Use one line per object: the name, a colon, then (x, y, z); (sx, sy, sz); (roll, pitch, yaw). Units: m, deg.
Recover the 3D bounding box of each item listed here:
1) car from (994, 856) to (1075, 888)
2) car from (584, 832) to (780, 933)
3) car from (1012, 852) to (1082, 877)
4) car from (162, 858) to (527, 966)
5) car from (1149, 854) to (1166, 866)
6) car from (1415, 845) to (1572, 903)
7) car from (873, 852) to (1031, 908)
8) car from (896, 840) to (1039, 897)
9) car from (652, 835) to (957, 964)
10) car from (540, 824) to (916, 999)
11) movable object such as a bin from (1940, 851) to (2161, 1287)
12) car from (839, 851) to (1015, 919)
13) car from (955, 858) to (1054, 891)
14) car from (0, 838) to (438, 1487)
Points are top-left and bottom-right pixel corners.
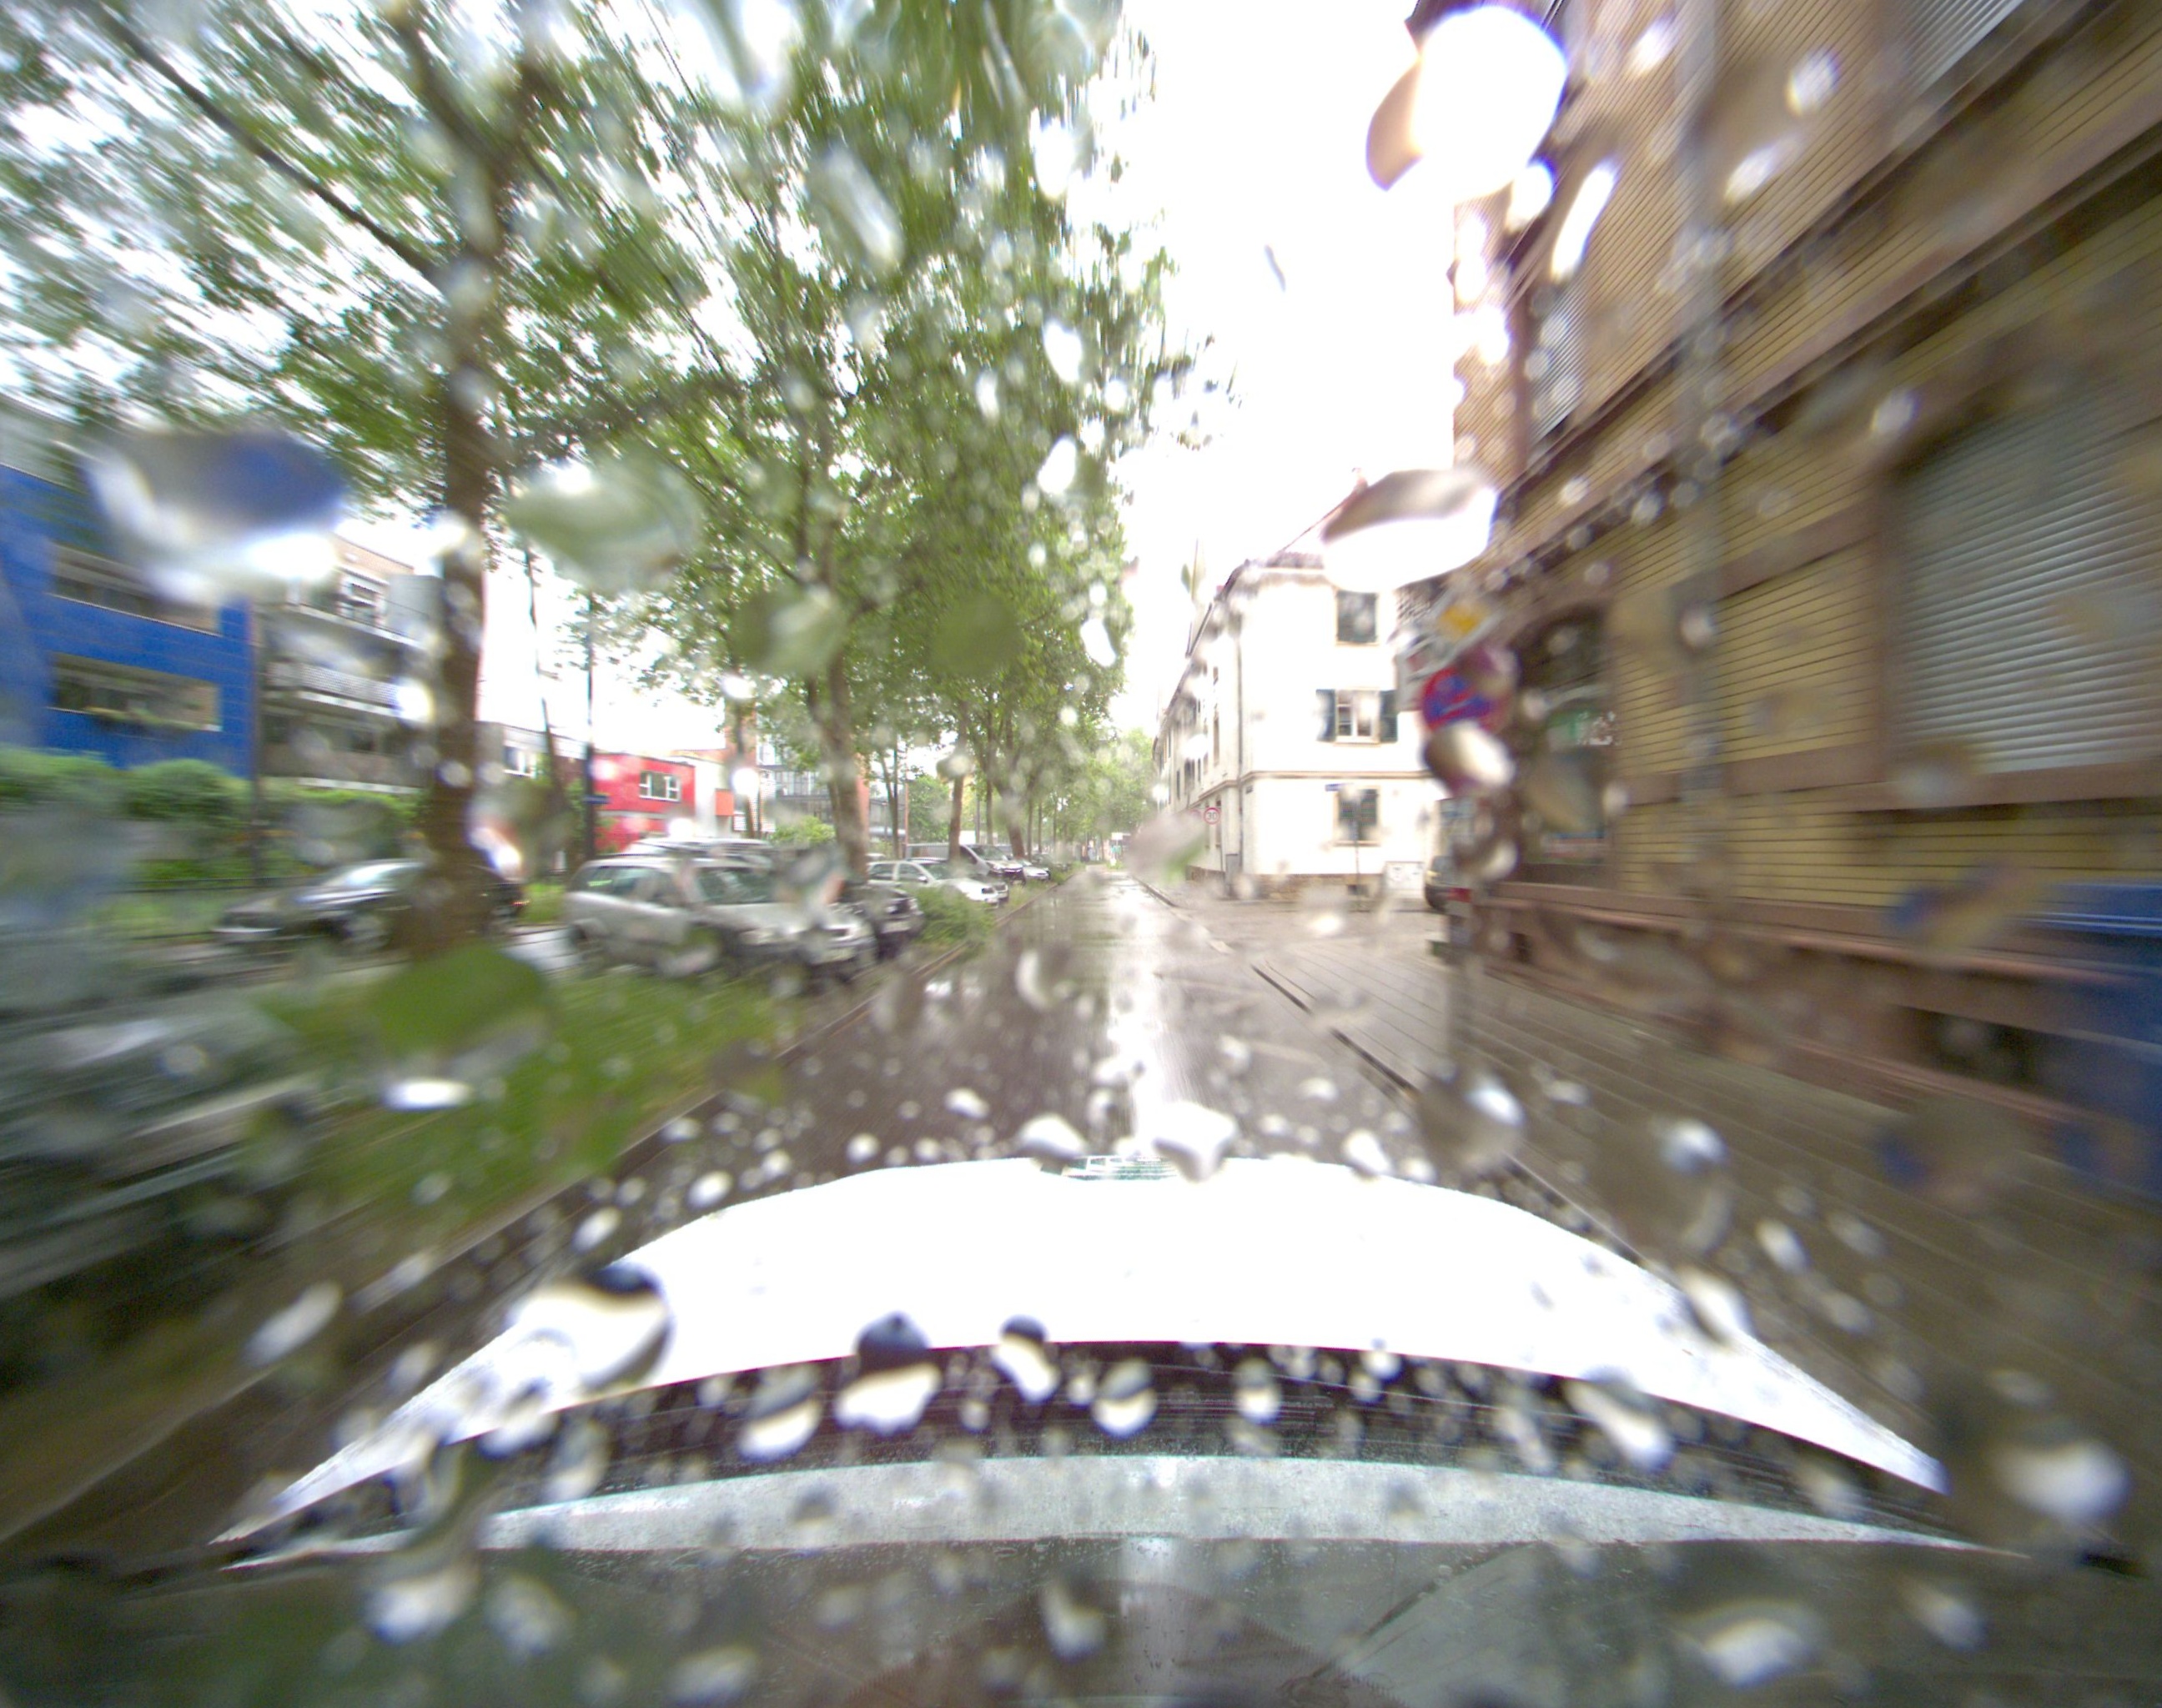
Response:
car: (-2.359, 0.914, 41.106); (3.768, 1.521, 1.733); (-2, 0, 32)
car: (-8.847, 0.546, 18.679); (2.032, 2.000, 5.156); (0, 0, -1)
car: (-2.323, 0.691, 56.006); (4.416, 1.597, 1.935); (0, 0, 28)
car: (-11.671, 0.820, 13.430); (1.985, 1.389, 4.262); (-1, 1, 3)
car: (10.790, 0.870, 115.159); (1.986, 1.640, 4.001); (1, 0, 1)
car: (10.900, 0.525, 21.653); (3.351, 1.487, 1.713); (0, -1, -6)
car: (-3.718, 0.676, 23.378); (4.262, 1.437, 1.758); (1, 1, 28)
car: (-4.294, 0.540, 30.460); (5.065, 1.977, 2.116); (-2, 0, 32)
car: (-4.248, 0.596, 12.388); (4.362, 1.660, 1.942); (-1, 0, 29)
car: (-4.246, 0.600, 9.586); (4.361, 1.645, 1.884); (-2, -1, 32)
movable object such as a bin: (3.835, 0.668, 2.448); (1.017, 1.301, 1.367); (-4, 1, 1)
car: (-3.828, 0.710, 20.278); (4.019, 1.499, 1.757); (1, 1, 25)
car: (-3.691, 0.982, 38.930); (4.502, 1.482, 1.786); (-2, 0, 31)
car: (-4.314, 0.683, 2.831); (4.177, 1.479, 1.754); (1, 1, 29)
